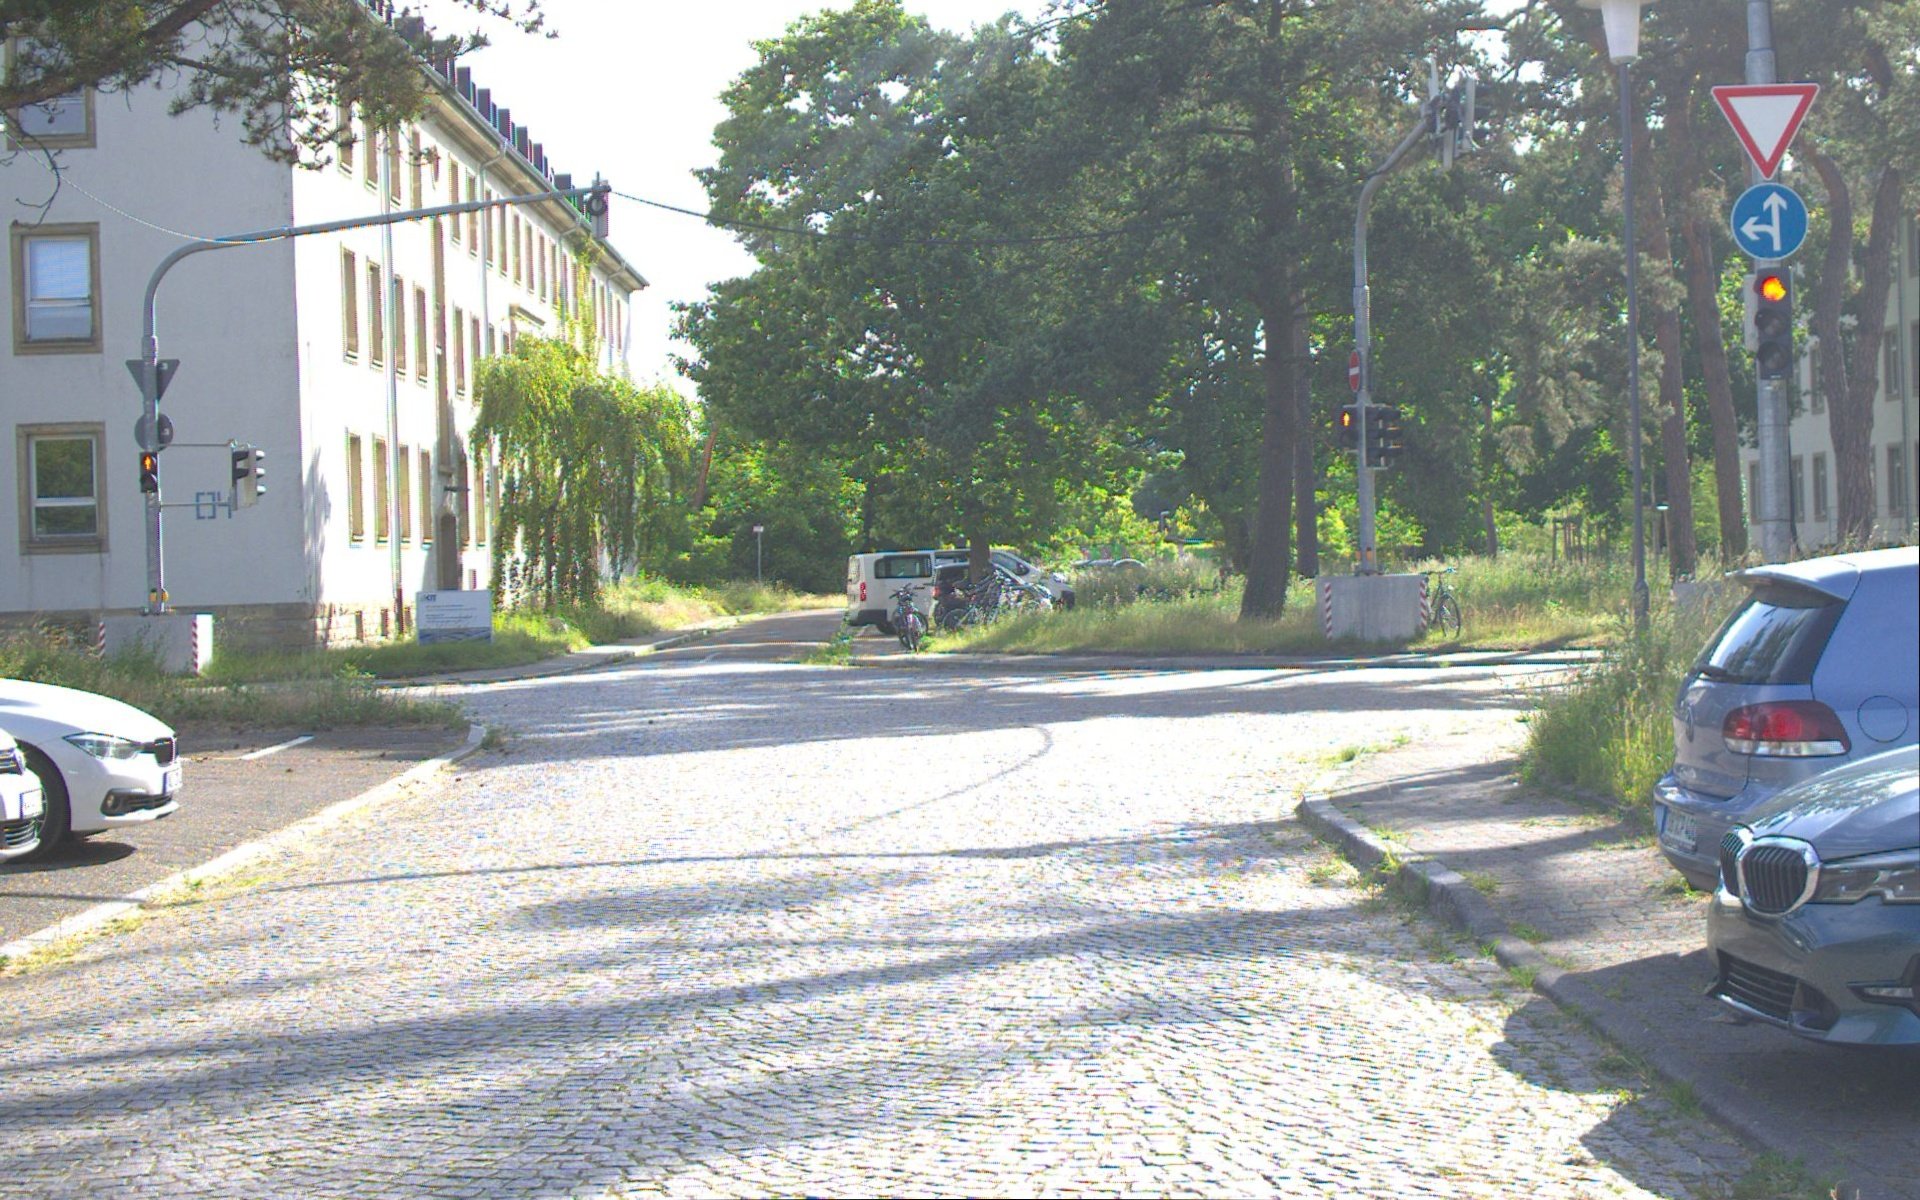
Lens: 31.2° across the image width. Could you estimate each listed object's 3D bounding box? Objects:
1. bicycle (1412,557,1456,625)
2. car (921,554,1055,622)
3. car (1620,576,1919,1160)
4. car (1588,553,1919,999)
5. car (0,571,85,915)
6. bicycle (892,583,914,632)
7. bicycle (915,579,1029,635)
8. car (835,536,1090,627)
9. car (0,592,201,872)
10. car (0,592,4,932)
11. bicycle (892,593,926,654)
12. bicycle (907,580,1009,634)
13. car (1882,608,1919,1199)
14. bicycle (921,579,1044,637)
[{"bbox_3d":[6.761,-0.130,49.054,0.300,0.957,1.586,0,0,-4],"label":"bicycle"},{"bbox_3d":[0.602,-0.256,75.636,2.781,1.462,1.671,0,0,-5],"label":"car"},{"bbox_3d":[4.293,0.574,9.507,4.559,1.410,1.637,-3,1,1],"label":"car"},{"bbox_3d":[4.368,0.505,12.287,3.882,1.410,1.637,-3,1,1],"label":"car"},{"bbox_3d":[-6.569,0.650,16.945,4.080,1.588,1.886,0,1,-3],"label":"car"},{"bbox_3d":[-1.173,0.148,70.777,0.417,1.007,1.483,0,0,0],"label":"bicycle"},{"bbox_3d":[0.221,0.134,62.877,2.004,1.007,0.632,0,0,-7],"label":"bicycle"},{"bbox_3d":[0.057,-0.415,79.120,5.520,2.007,2.001,0,0,-18],"label":"car"},{"bbox_3d":[-6.597,0.697,19.268,4.333,1.463,1.831,0,1,-3],"label":"car"},{"bbox_3d":[-6.111,0.708,13.983,3.986,1.475,1.803,0,1,-3],"label":"car"},{"bbox_3d":[-0.859,0.385,57.531,0.467,1.007,1.586,0,0,-4],"label":"bicycle"},{"bbox_3d":[-0.047,0.126,64.633,1.837,1.007,0.636,0,0,-7],"label":"bicycle"},{"bbox_3d":[4.307,0.624,6.791,4.432,1.410,1.781,-3,1,1],"label":"car"},{"bbox_3d":[0.402,0.141,61.164,2.109,1.007,0.621,0,0,-7],"label":"bicycle"}]
